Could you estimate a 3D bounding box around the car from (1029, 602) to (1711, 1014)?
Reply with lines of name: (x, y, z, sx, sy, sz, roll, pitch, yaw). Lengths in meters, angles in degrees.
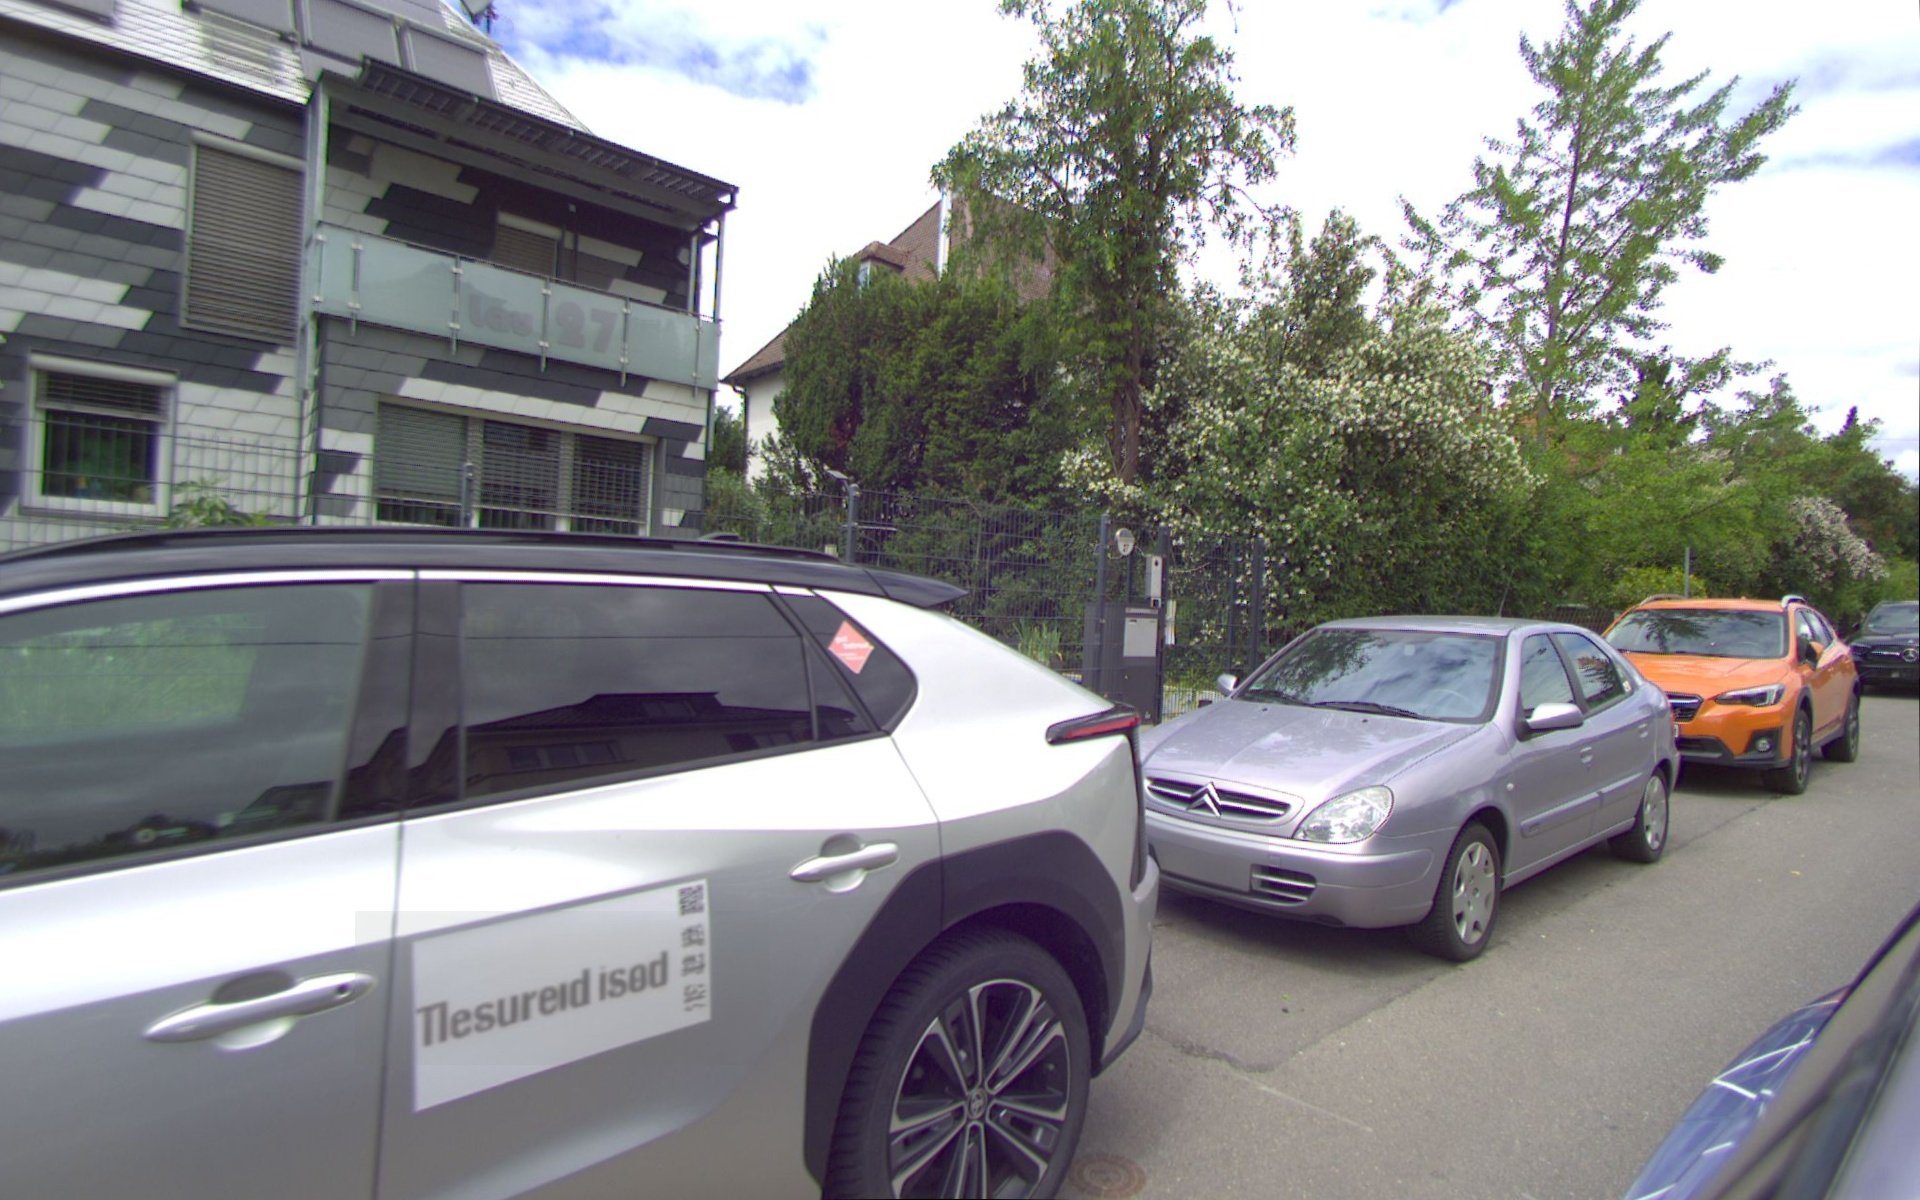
car: (2.470, 0.725, 5.524, 4.161, 1.399, 1.720, 0, 1, -40)

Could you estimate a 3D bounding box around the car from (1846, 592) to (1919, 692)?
car: (17.437, 0.692, 18.079, 4.301, 1.647, 1.952, 0, 0, -42)

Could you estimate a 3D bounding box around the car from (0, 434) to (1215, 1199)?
car: (-1.602, 0.616, 1.939, 4.412, 1.644, 1.833, 0, 1, -40)

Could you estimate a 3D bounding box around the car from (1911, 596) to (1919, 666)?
car: (22.510, 0.727, 22.517, 2.959, 1.529, 1.602, 1, 0, -40)

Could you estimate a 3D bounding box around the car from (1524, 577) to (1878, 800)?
car: (7.080, 0.648, 9.511, 4.097, 1.647, 1.853, 0, 0, -41)
